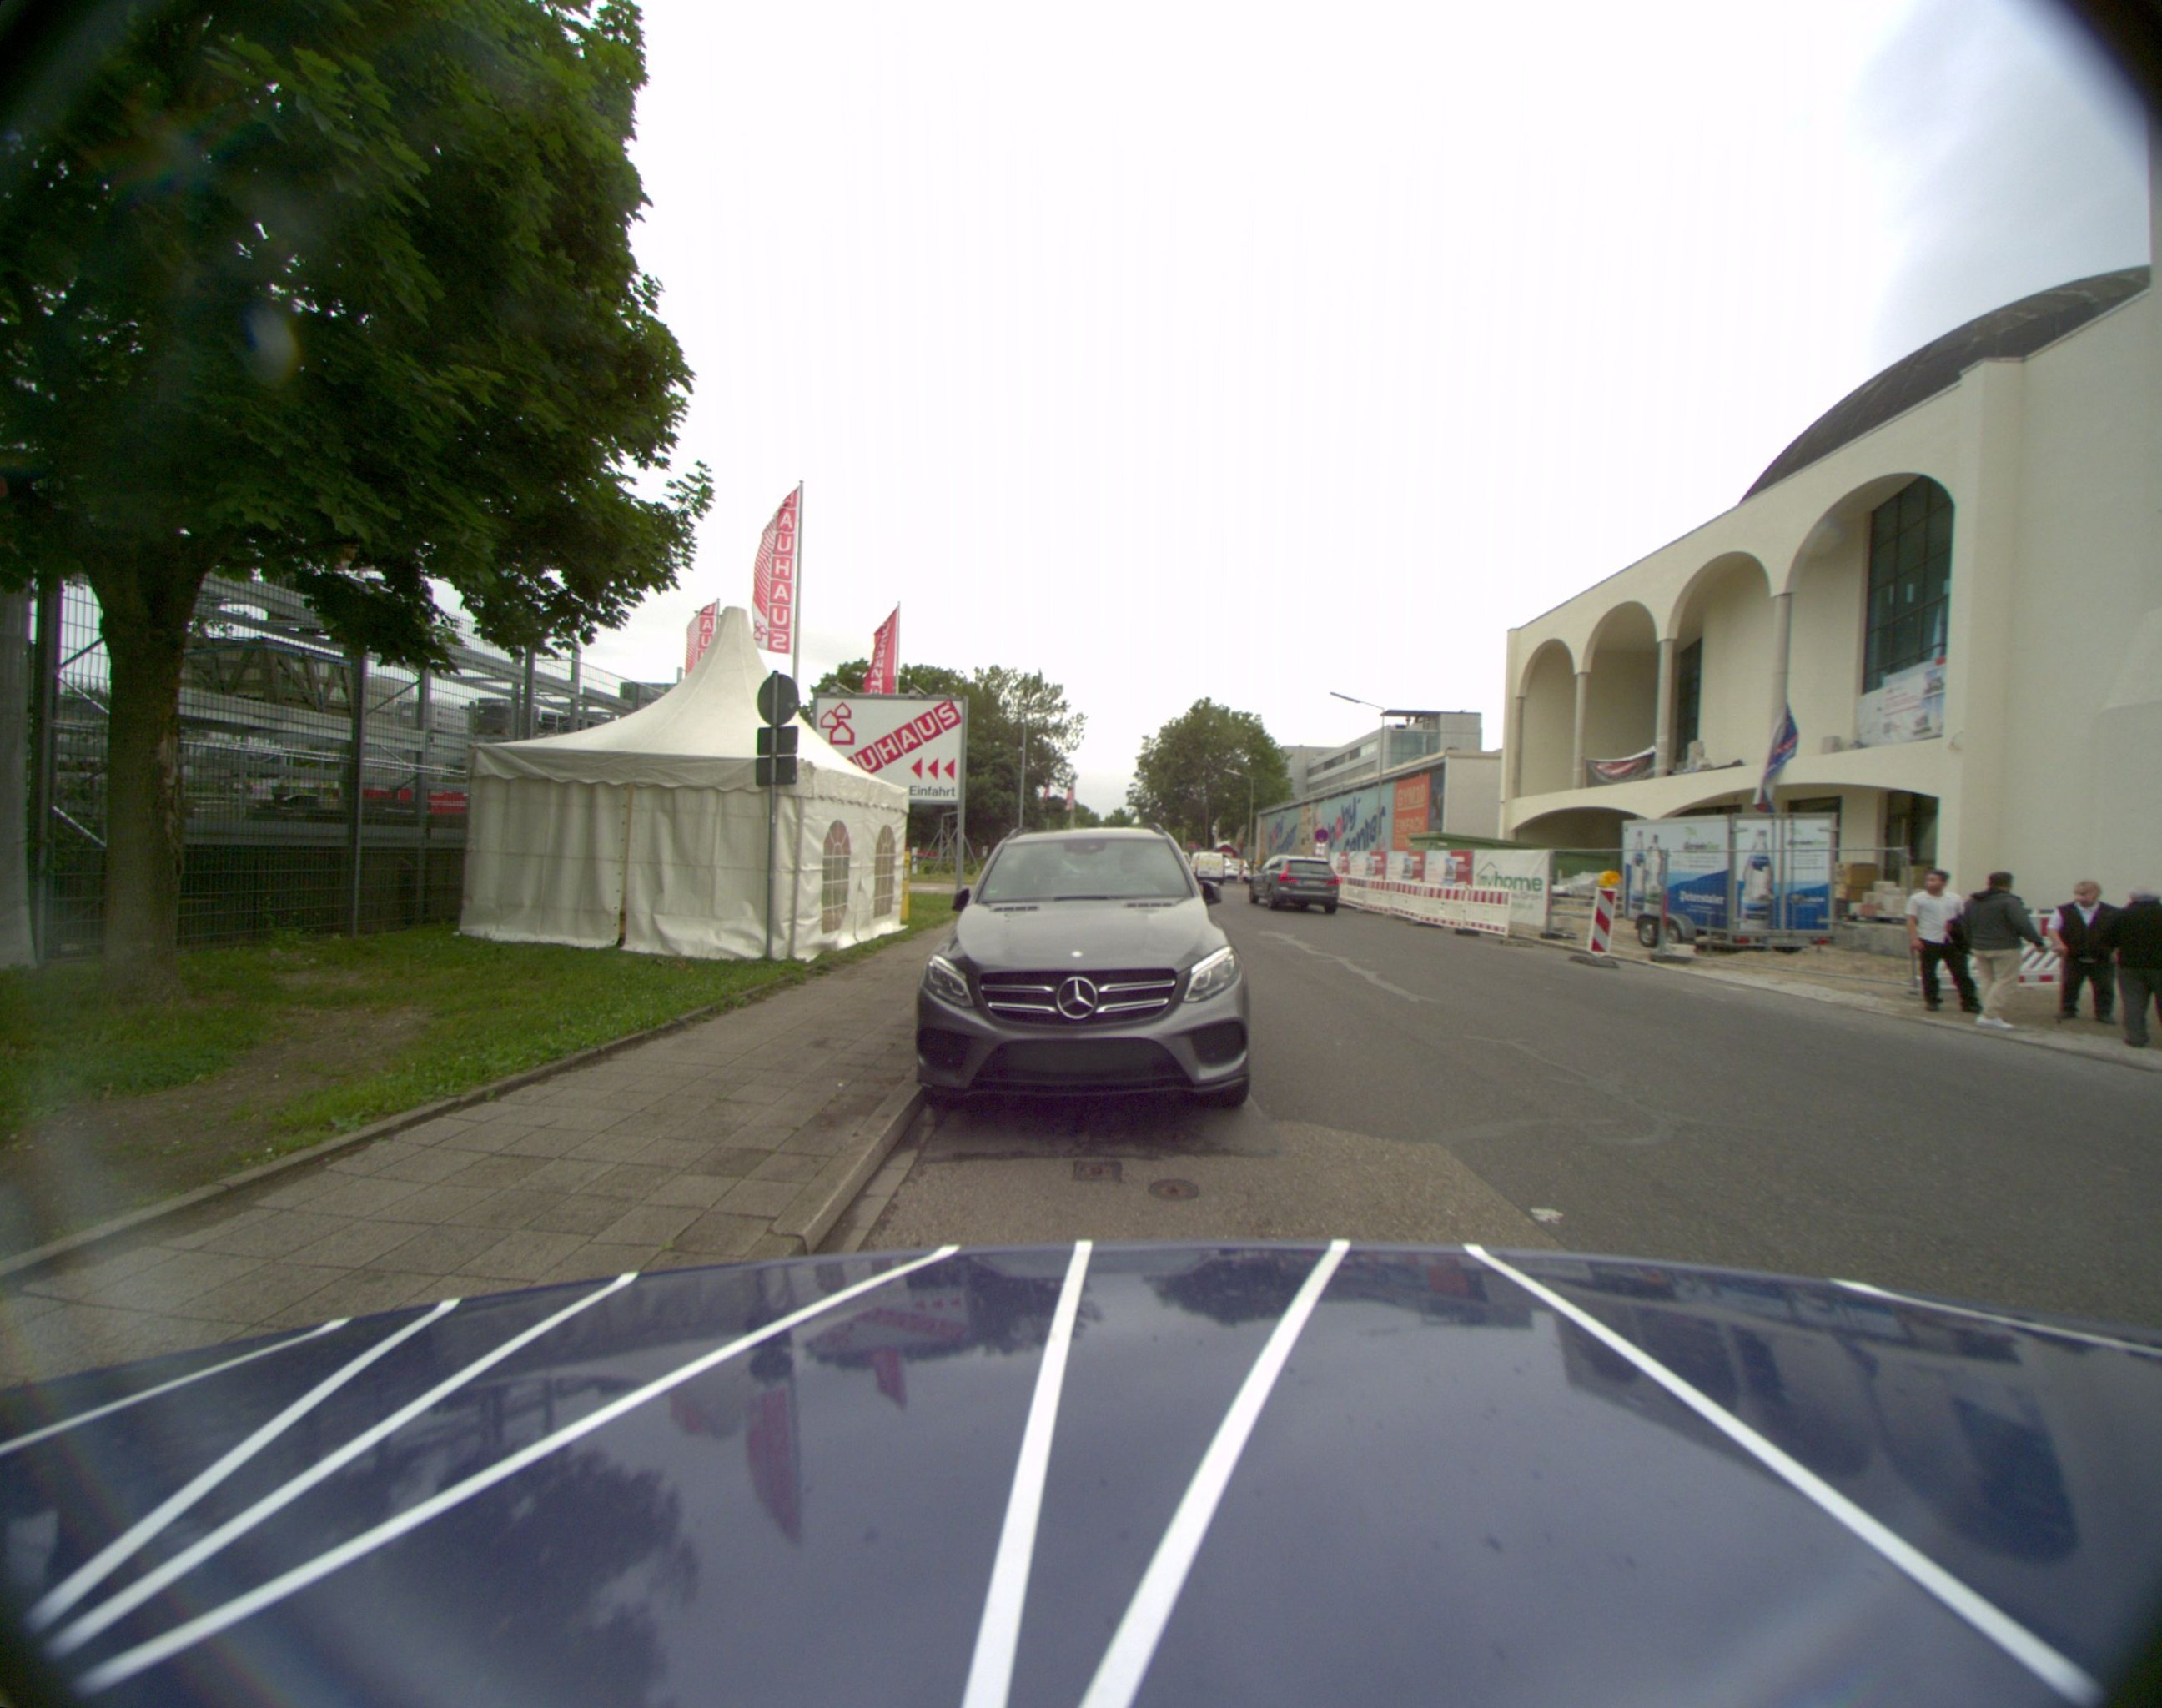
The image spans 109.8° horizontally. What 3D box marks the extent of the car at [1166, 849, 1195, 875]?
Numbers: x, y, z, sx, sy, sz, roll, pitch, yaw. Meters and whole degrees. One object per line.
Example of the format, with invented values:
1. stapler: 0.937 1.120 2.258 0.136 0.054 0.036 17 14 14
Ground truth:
1. car: 7.824 0.591 60.206 1.799 1.797 4.383 3 1 2

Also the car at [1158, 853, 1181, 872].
1. car: 8.102 0.764 69.875 1.733 1.562 3.947 4 1 3

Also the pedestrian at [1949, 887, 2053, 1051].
1. pedestrian: 10.353 1.250 8.564 0.492 1.738 0.690 1 -2 -39

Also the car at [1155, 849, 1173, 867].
1. car: 10.233 0.458 93.796 1.931 2.002 4.955 2 1 3

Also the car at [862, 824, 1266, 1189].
1. car: 0.029 0.729 5.881 1.913 1.731 4.481 -1 0 3

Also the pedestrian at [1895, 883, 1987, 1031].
1. pedestrian: 10.646 1.238 9.411 0.492 1.738 0.690 1 -2 -39

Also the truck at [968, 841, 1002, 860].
1. truck: -12.804 -0.518 101.274 1.994 2.383 4.009 3 1 42

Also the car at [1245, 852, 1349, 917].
1. car: 6.449 0.841 23.214 1.938 1.674 4.495 3 1 2

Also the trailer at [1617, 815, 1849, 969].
1. trailer: 12.403 0.644 14.748 1.802 2.592 3.192 2 1 5

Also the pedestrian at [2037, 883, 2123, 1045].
1. pedestrian: 11.252 1.200 8.576 0.492 1.738 0.527 1 -2 -39

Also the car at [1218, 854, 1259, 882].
1. car: 10.429 0.900 50.606 1.928 1.565 4.150 5 1 3

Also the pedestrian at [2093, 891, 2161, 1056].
1. pedestrian: 10.659 1.171 7.577 0.570 1.601 0.492 -2 -2 45

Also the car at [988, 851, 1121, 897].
1. car: -0.871 0.678 26.869 4.490 1.420 1.939 1 2 4

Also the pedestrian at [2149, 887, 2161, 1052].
1. pedestrian: 11.291 1.171 7.608 0.411 1.682 0.572 0 -2 -22

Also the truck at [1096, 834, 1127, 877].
1. truck: 1.944 0.106 48.377 1.852 2.597 4.000 -1 1 2

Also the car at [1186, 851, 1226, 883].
1. car: 7.225 0.712 44.221 1.694 1.750 4.135 2 0 2
